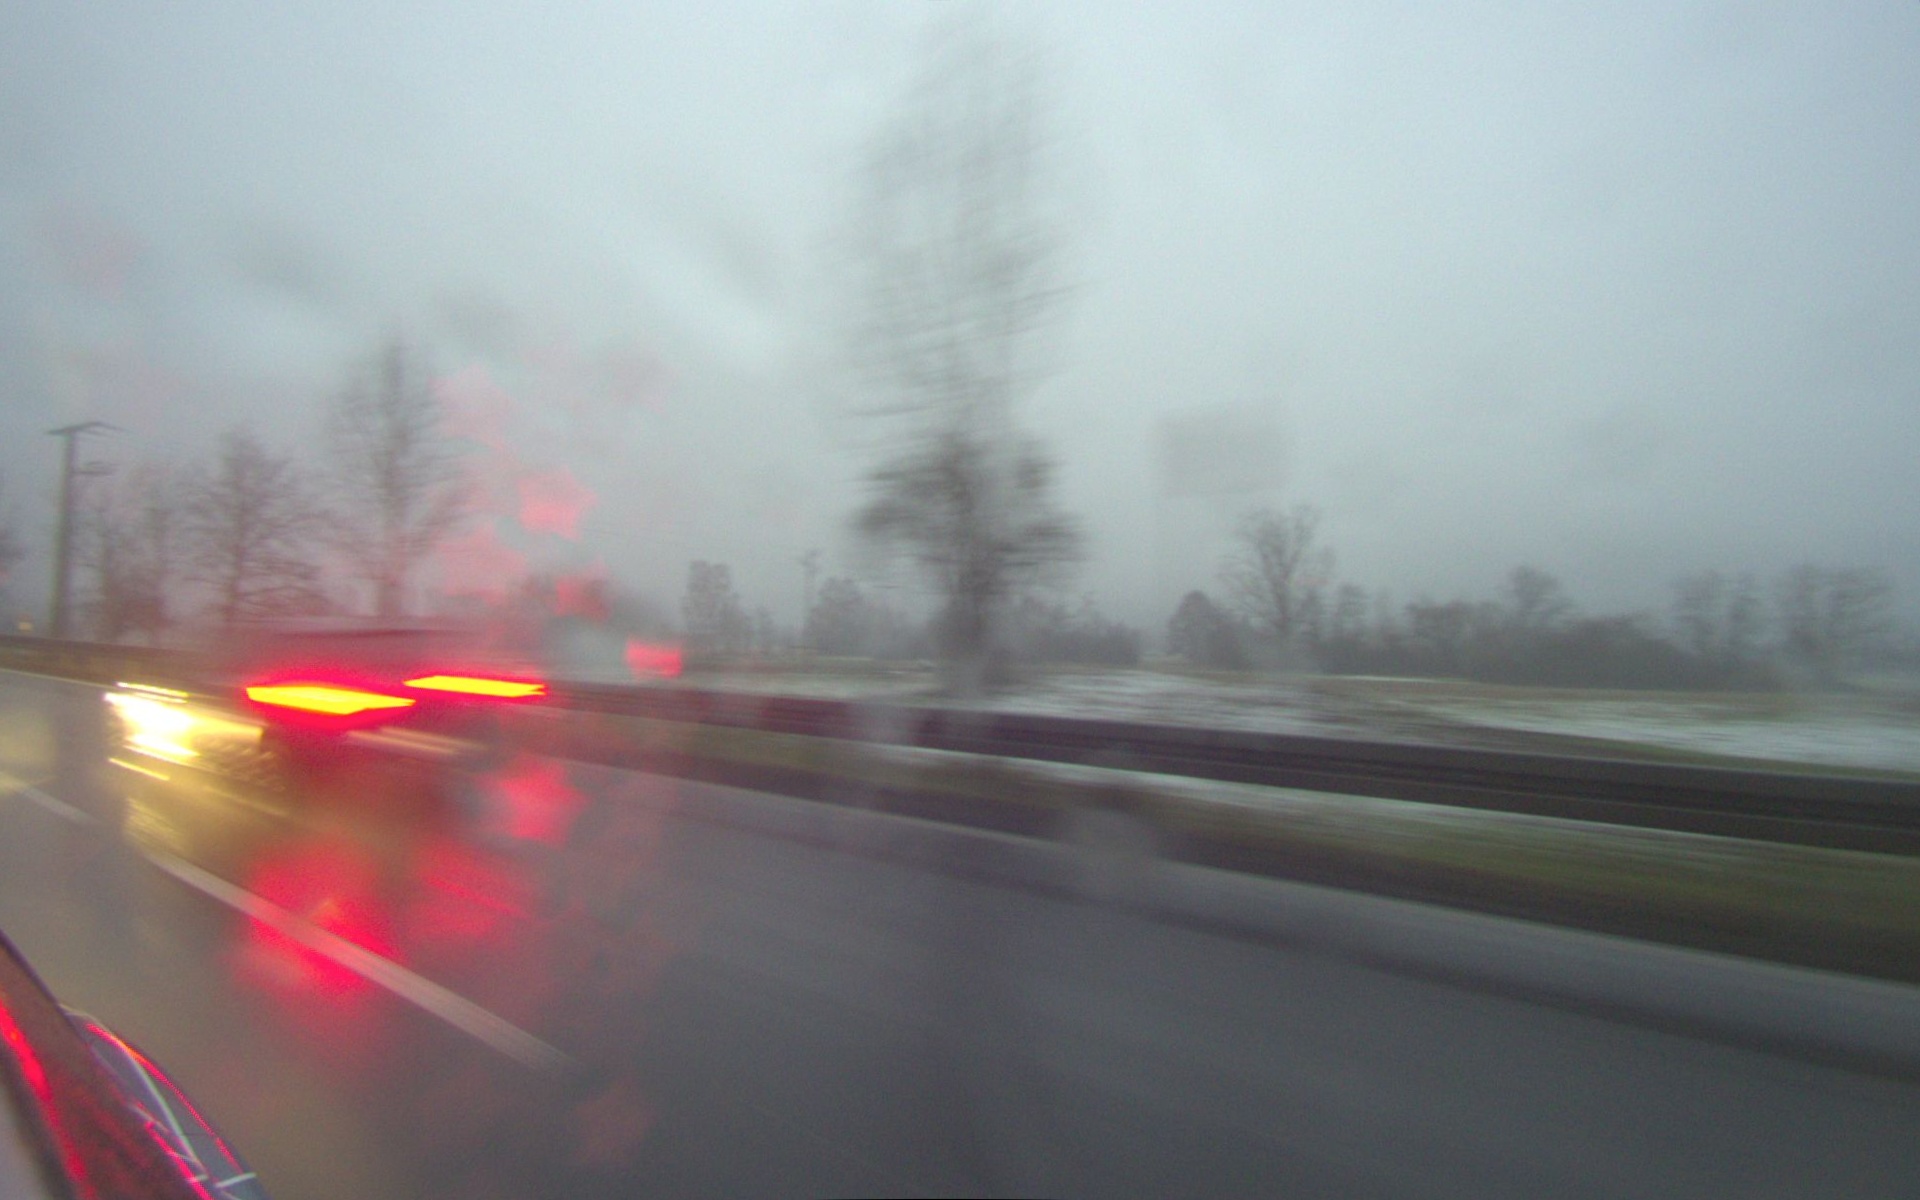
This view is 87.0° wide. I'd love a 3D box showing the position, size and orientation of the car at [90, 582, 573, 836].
[{"bbox_3d":[-5.560,0.689,8.740,4.589,1.633,1.976,0,1,36],"label":"car"}]
